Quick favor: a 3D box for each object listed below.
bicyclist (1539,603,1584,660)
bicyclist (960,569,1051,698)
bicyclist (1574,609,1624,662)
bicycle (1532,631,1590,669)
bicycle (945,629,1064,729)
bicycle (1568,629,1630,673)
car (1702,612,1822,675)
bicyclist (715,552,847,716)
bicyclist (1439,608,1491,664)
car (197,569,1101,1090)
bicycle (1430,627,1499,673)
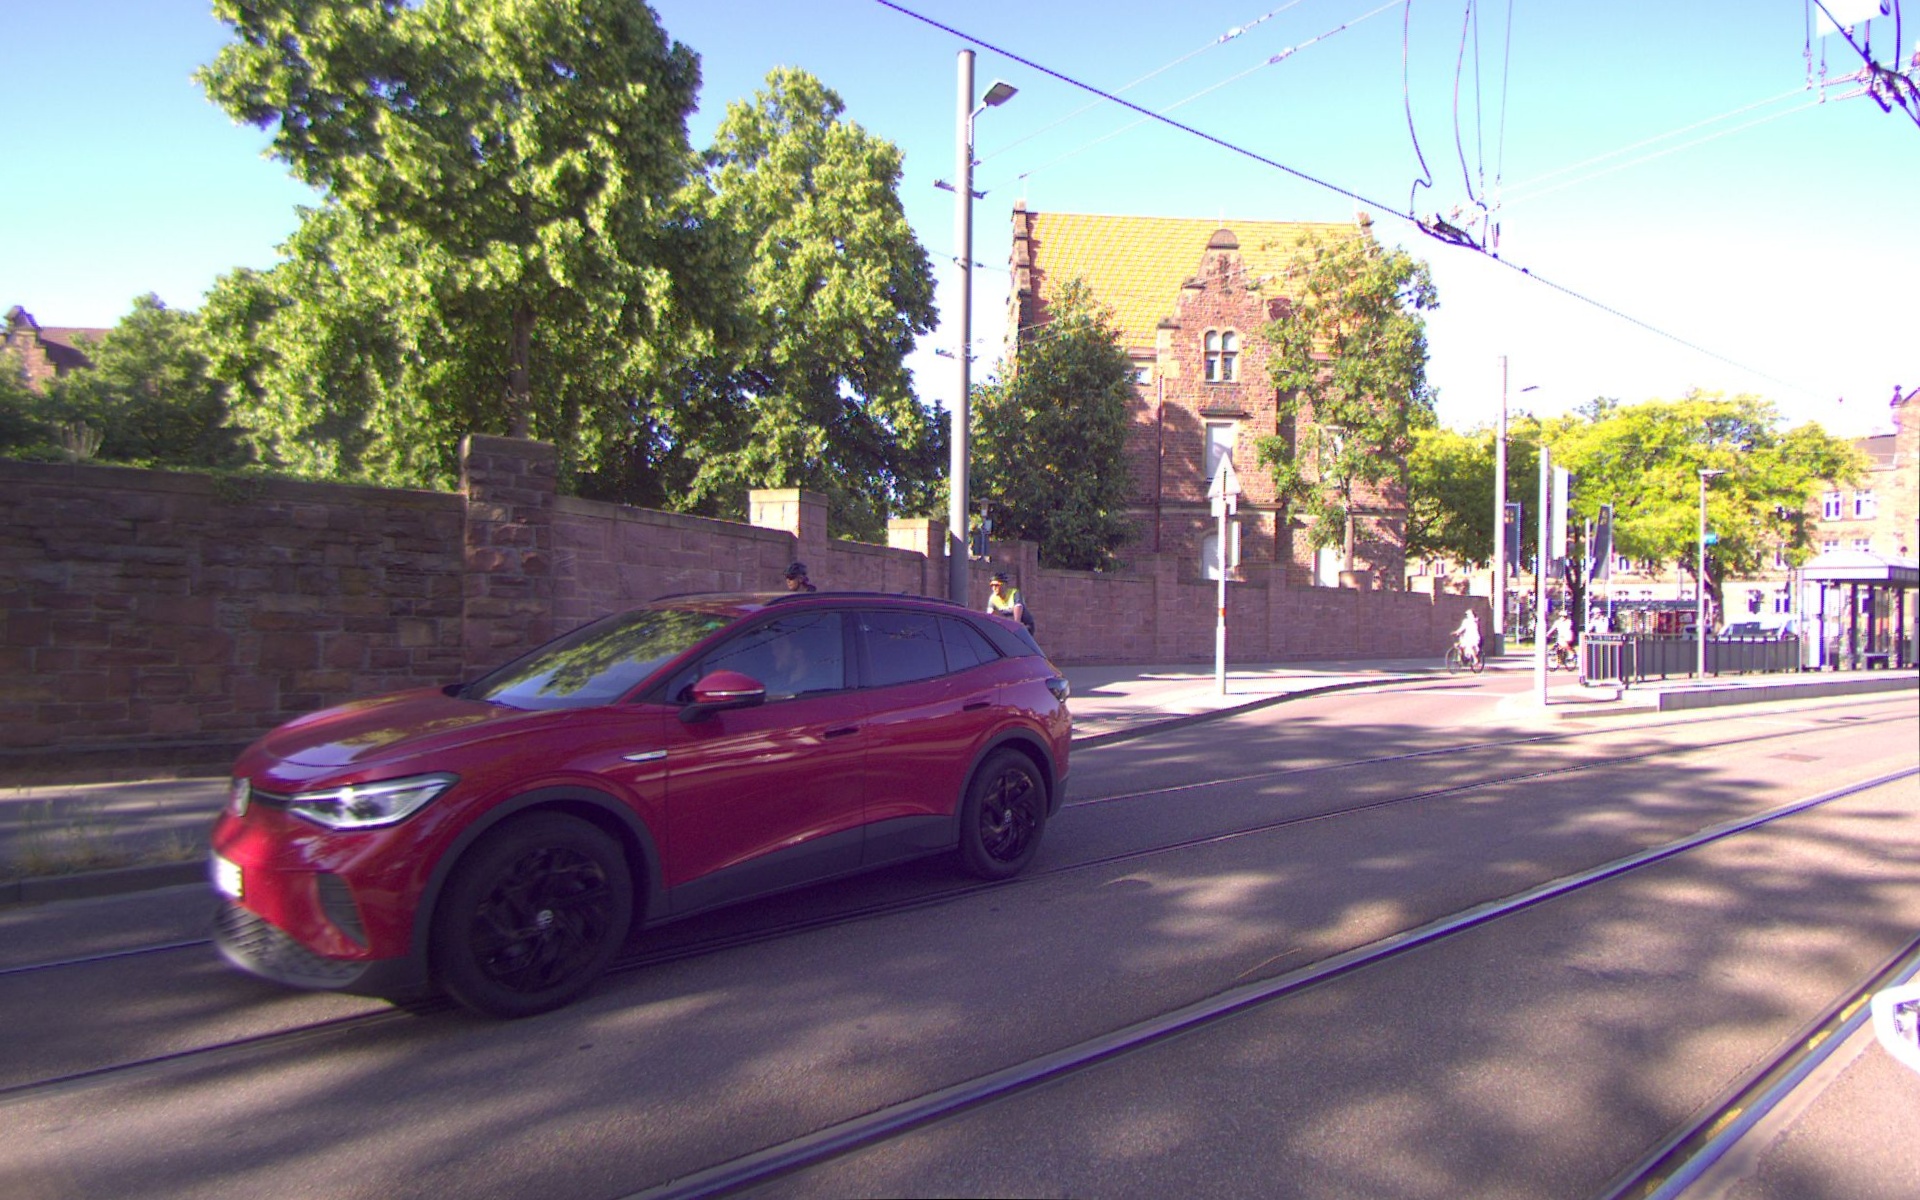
[{"bbox_3d":[18.363,0.951,30.658,1.219,1.697,0.646,0,2,-32],"label":"bicyclist"},{"bbox_3d":[0.569,0.392,12.193,0.643,1.478,1.150,1,0,30],"label":"bicyclist"},{"bbox_3d":[19.034,1.047,29.901,1.333,1.557,0.756,1,0,-33],"label":"bicyclist"},{"bbox_3d":[18.334,1.502,30.640,1.993,1.087,0.665,1,1,-33],"label":"bicycle"},{"bbox_3d":[0.582,0.918,12.215,0.674,1.103,1.852,1,-1,29],"label":"bicycle"},{"bbox_3d":[19.020,1.506,29.894,2.066,1.247,0.772,1,0,-33],"label":"bicycle"},{"bbox_3d":[24.963,1.314,31.215,4.212,1.812,1.815,1,-1,-35],"label":"car"},{"bbox_3d":[-1.706,0.312,9.707,0.643,1.478,1.150,1,0,31],"label":"bicyclist"},{"bbox_3d":[13.948,0.998,27.734,1.178,1.490,0.752,2,0,-33],"label":"bicyclist"},{"bbox_3d":[-1.202,0.755,5.385,1.797,1.628,4.337,1,-1,41],"label":"car"},{"bbox_3d":[13.927,1.364,27.727,1.932,1.214,0.810,2,0,-33],"label":"bicycle"}]
